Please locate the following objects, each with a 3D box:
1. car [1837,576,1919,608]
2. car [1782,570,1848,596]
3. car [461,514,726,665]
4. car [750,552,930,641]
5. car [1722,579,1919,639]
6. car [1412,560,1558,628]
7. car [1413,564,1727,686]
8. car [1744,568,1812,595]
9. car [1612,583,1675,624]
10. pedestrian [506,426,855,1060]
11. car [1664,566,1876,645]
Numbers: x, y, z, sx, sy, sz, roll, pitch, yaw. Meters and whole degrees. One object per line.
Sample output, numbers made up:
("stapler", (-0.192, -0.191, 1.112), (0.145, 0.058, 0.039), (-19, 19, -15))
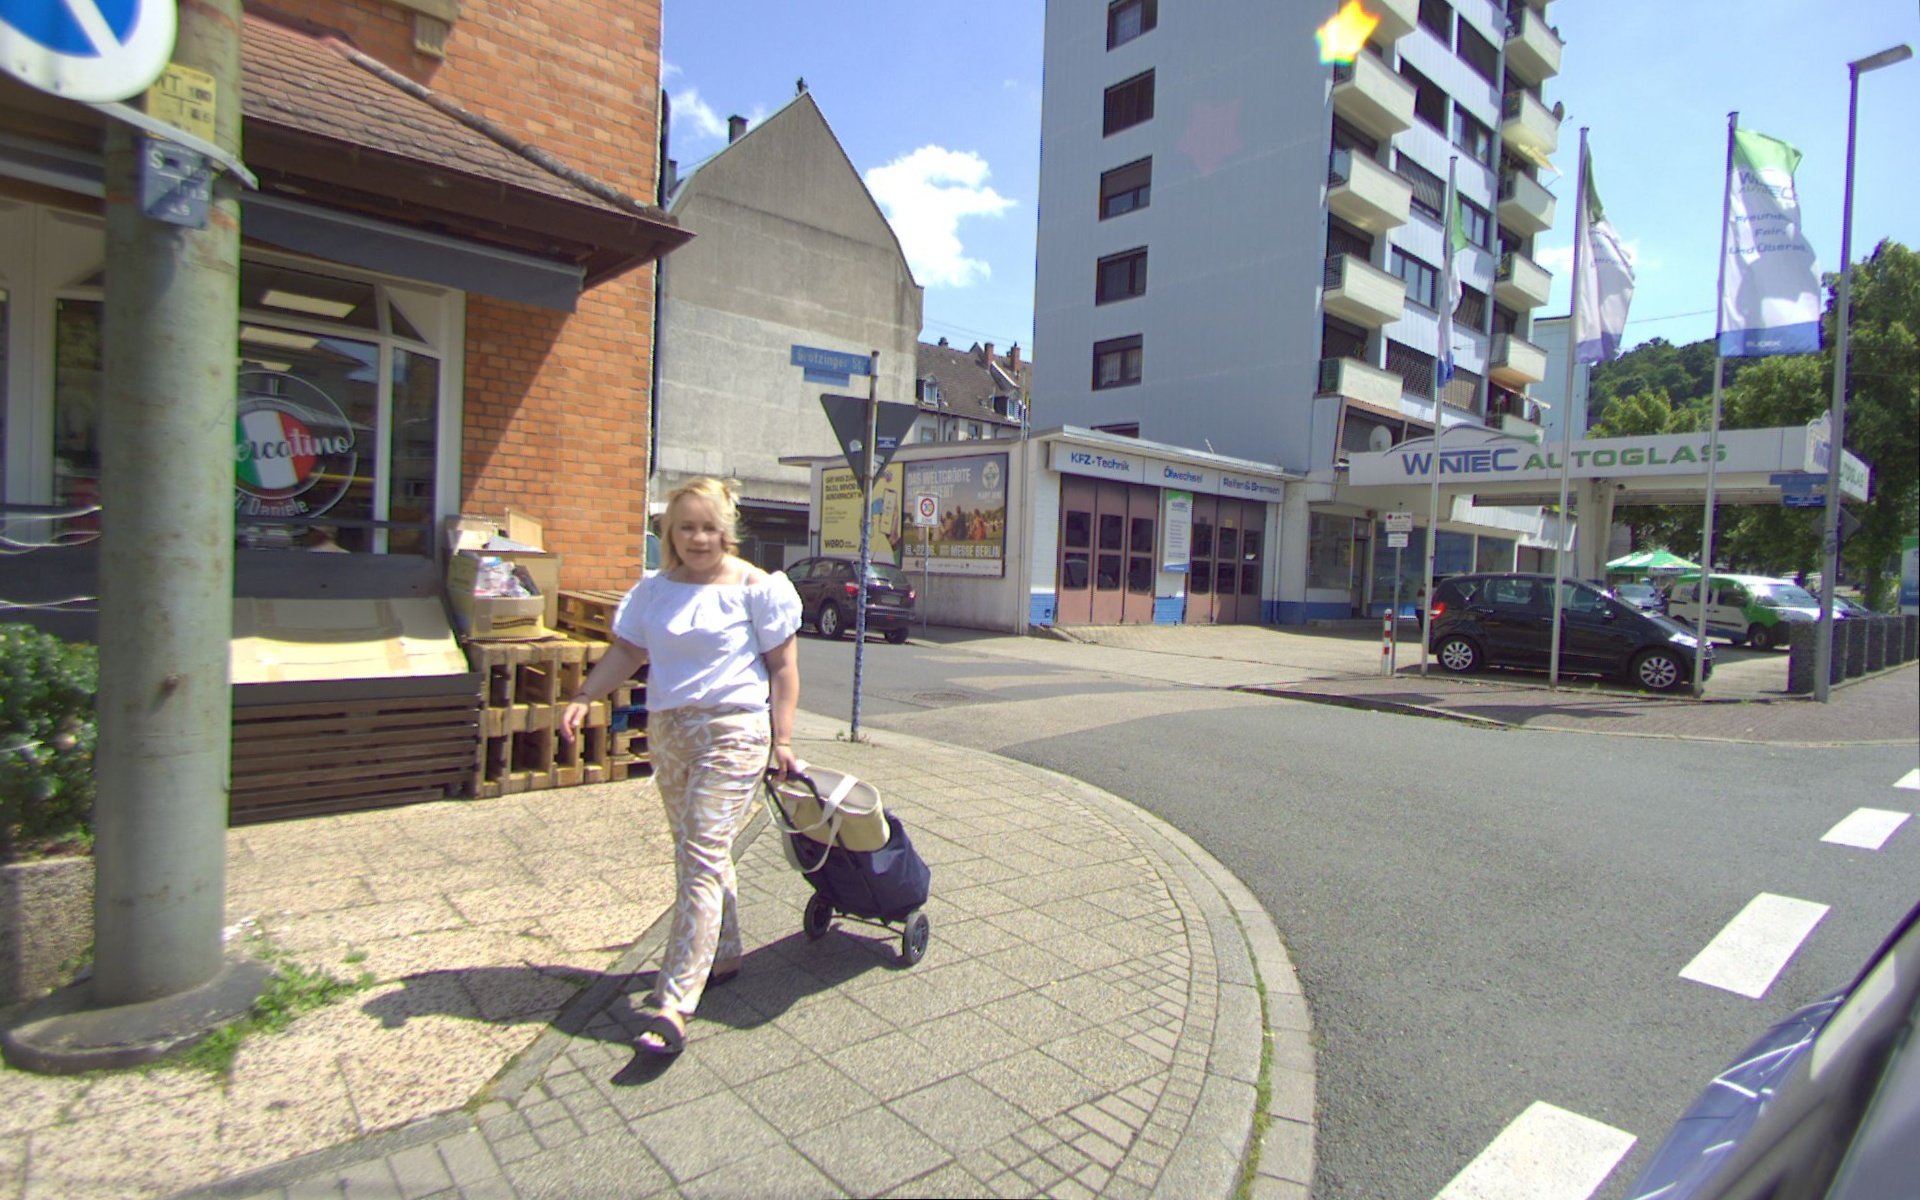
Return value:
("car", (62.310, -0.567, 68.544), (6.245, 2.039, 2.405), (-1, 1, -29))
("car", (69.810, -1.402, 82.645), (5.273, 2.039, 2.405), (-1, 1, -29))
("car", (-5.616, -0.251, 15.074), (1.877, 1.884, 5.060), (-1, 3, -43))
("car", (-2.508, -0.116, 20.355), (1.808, 1.562, 3.887), (2, 1, -38))
("car", (24.362, 0.209, 28.817), (1.664, 1.446, 3.984), (1, 3, -16))
("car", (14.001, -0.179, 26.888), (4.621, 1.646, 1.750), (0, 2, -40))
("car", (9.192, 0.272, 15.387), (3.868, 1.562, 1.818), (3, 3, 38))
("car", (64.160, -1.459, 79.353), (5.273, 2.039, 2.405), (-1, 1, -29))
("car", (26.074, 0.082, 38.708), (1.699, 1.417, 4.238), (1, 2, 30))
("pedestrian", (-0.843, 0.356, 3.106), (0.702, 1.661, 0.652), (4, 1, 31))
("car", (20.027, 0.085, 25.303), (1.788, 1.812, 4.291), (-1, 1, -1))
